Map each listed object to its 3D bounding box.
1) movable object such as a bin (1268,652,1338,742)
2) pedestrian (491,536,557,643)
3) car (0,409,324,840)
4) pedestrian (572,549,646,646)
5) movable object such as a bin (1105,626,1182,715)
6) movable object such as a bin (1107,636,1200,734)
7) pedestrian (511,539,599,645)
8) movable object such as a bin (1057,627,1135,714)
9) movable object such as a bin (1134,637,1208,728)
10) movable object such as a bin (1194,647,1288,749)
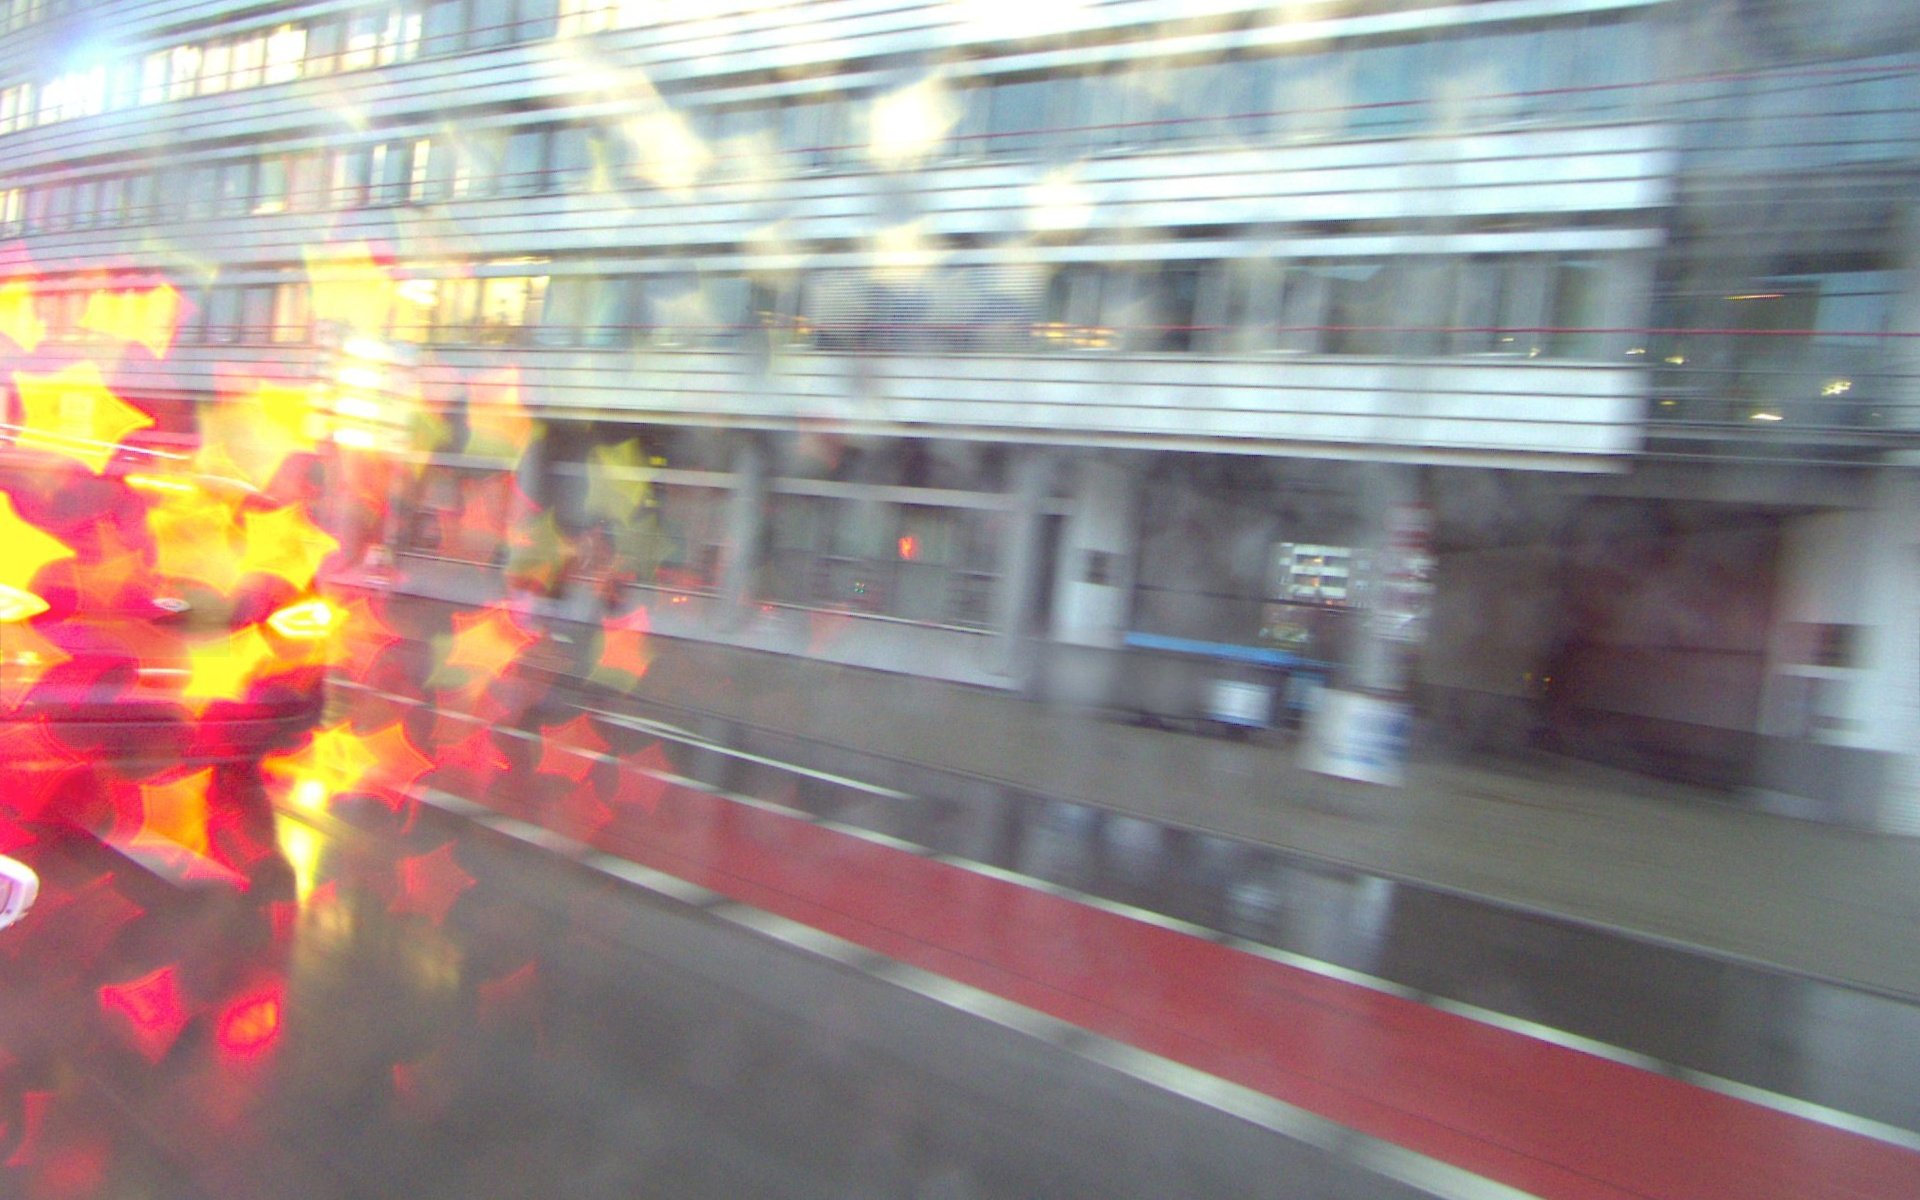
[{"bbox_3d":[5.685,1.588,16.660,0.946,1.322,0.730,7,2,21],"label":"movable object such as a bin"},{"bbox_3d":[-7.359,-0.176,16.981,0.732,1.703,0.531,7,1,31],"label":"pedestrian"},{"bbox_3d":[-5.473,-0.049,5.548,3.934,1.801,1.676,7,0,32],"label":"car"},{"bbox_3d":[-6.434,-0.040,18.464,0.887,1.645,0.727,7,0,31],"label":"pedestrian"},{"bbox_3d":[3.214,1.213,17.590,1.060,1.401,0.730,7,2,21],"label":"movable object such as a bin"},{"bbox_3d":[2.987,1.281,15.499,1.147,1.311,0.846,7,2,21],"label":"movable object such as a bin"},{"bbox_3d":[-7.082,-0.133,17.597,1.051,1.706,0.794,7,0,31],"label":"pedestrian"},{"bbox_3d":[2.305,1.166,16.981,0.994,1.311,0.867,7,2,21],"label":"movable object such as a bin"},{"bbox_3d":[3.442,1.319,16.405,0.946,1.322,0.730,7,2,21],"label":"movable object such as a bin"},{"bbox_3d":[4.210,1.433,15.042,1.147,1.311,0.846,7,2,21],"label":"movable object such as a bin"}]
